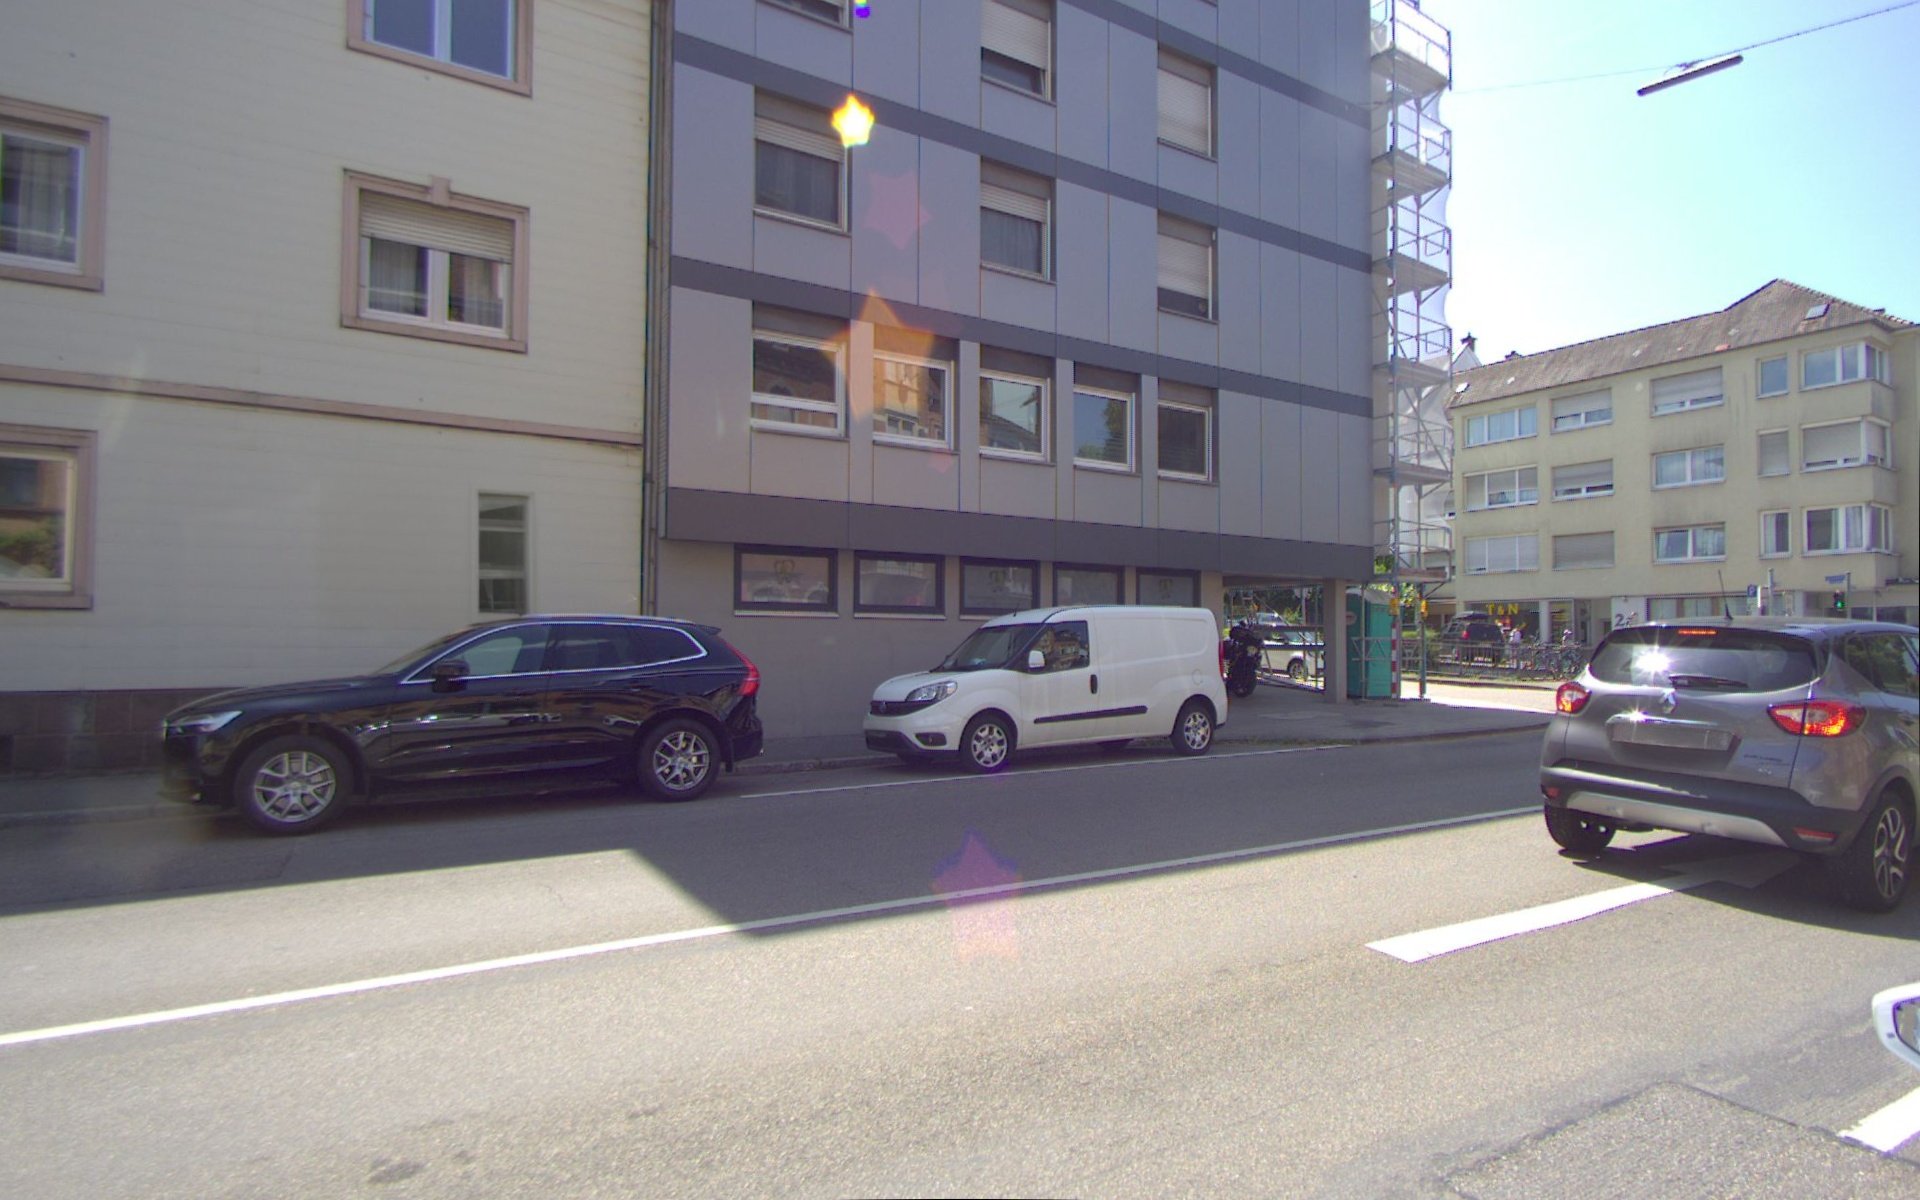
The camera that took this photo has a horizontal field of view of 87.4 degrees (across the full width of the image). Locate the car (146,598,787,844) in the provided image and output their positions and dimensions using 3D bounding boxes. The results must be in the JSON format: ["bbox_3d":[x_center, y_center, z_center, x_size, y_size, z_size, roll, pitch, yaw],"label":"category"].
[{"bbox_3d":[-4.042,0.937,8.866,4.612,1.662,1.875,2,-4,-32],"label":"car"}]

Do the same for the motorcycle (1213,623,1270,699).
[{"bbox_3d":[5.861,1.246,21.029,0.864,1.491,2.044,1,-1,7],"label":"motorcycle"}]

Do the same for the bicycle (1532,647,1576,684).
[{"bbox_3d":[16.651,1.825,28.149,1.702,0.980,0.394,2,-2,-35],"label":"bicycle"}]

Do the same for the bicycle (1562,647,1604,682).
[{"bbox_3d":[18.150,1.860,29.250,1.729,0.980,0.394,2,-2,-35],"label":"bicycle"}]

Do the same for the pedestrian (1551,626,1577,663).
[{"bbox_3d":[25.141,1.845,41.793,0.641,1.495,0.683,1,-2,-30],"label":"pedestrian"}]

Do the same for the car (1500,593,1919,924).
[{"bbox_3d":[5.654,0.846,6.783,3.953,1.653,1.746,1,-1,-30],"label":"car"}]

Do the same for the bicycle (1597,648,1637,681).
[{"bbox_3d":[19.890,1.941,30.416,1.766,0.980,0.394,2,-2,-35],"label":"bicycle"}]

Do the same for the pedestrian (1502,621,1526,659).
[{"bbox_3d":[24.506,1.757,44.436,0.641,1.654,0.683,1,-2,-30],"label":"pedestrian"}]

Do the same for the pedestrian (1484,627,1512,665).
[{"bbox_3d":[23.670,2.036,44.179,0.813,1.654,0.798,1,-2,-30],"label":"pedestrian"}]

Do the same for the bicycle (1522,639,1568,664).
[{"bbox_3d":[25.650,2.263,44.076,0.493,1.040,1.728,1,-2,-32],"label":"bicycle"}]

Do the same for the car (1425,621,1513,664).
[{"bbox_3d":[21.320,1.784,42.238,1.959,1.686,4.333,0,-2,7],"label":"car"}]

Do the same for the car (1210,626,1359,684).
[{"bbox_3d":[8.989,1.483,28.086,1.740,1.466,3.705,1,-1,-34],"label":"car"}]

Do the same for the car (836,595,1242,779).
[{"bbox_3d":[1.044,0.995,12.210,4.736,1.849,1.904,2,-4,-32],"label":"car"}]

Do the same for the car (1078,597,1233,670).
[{"bbox_3d":[6.283,1.033,32.865,1.980,2.041,4.961,1,1,-35],"label":"car"}]
